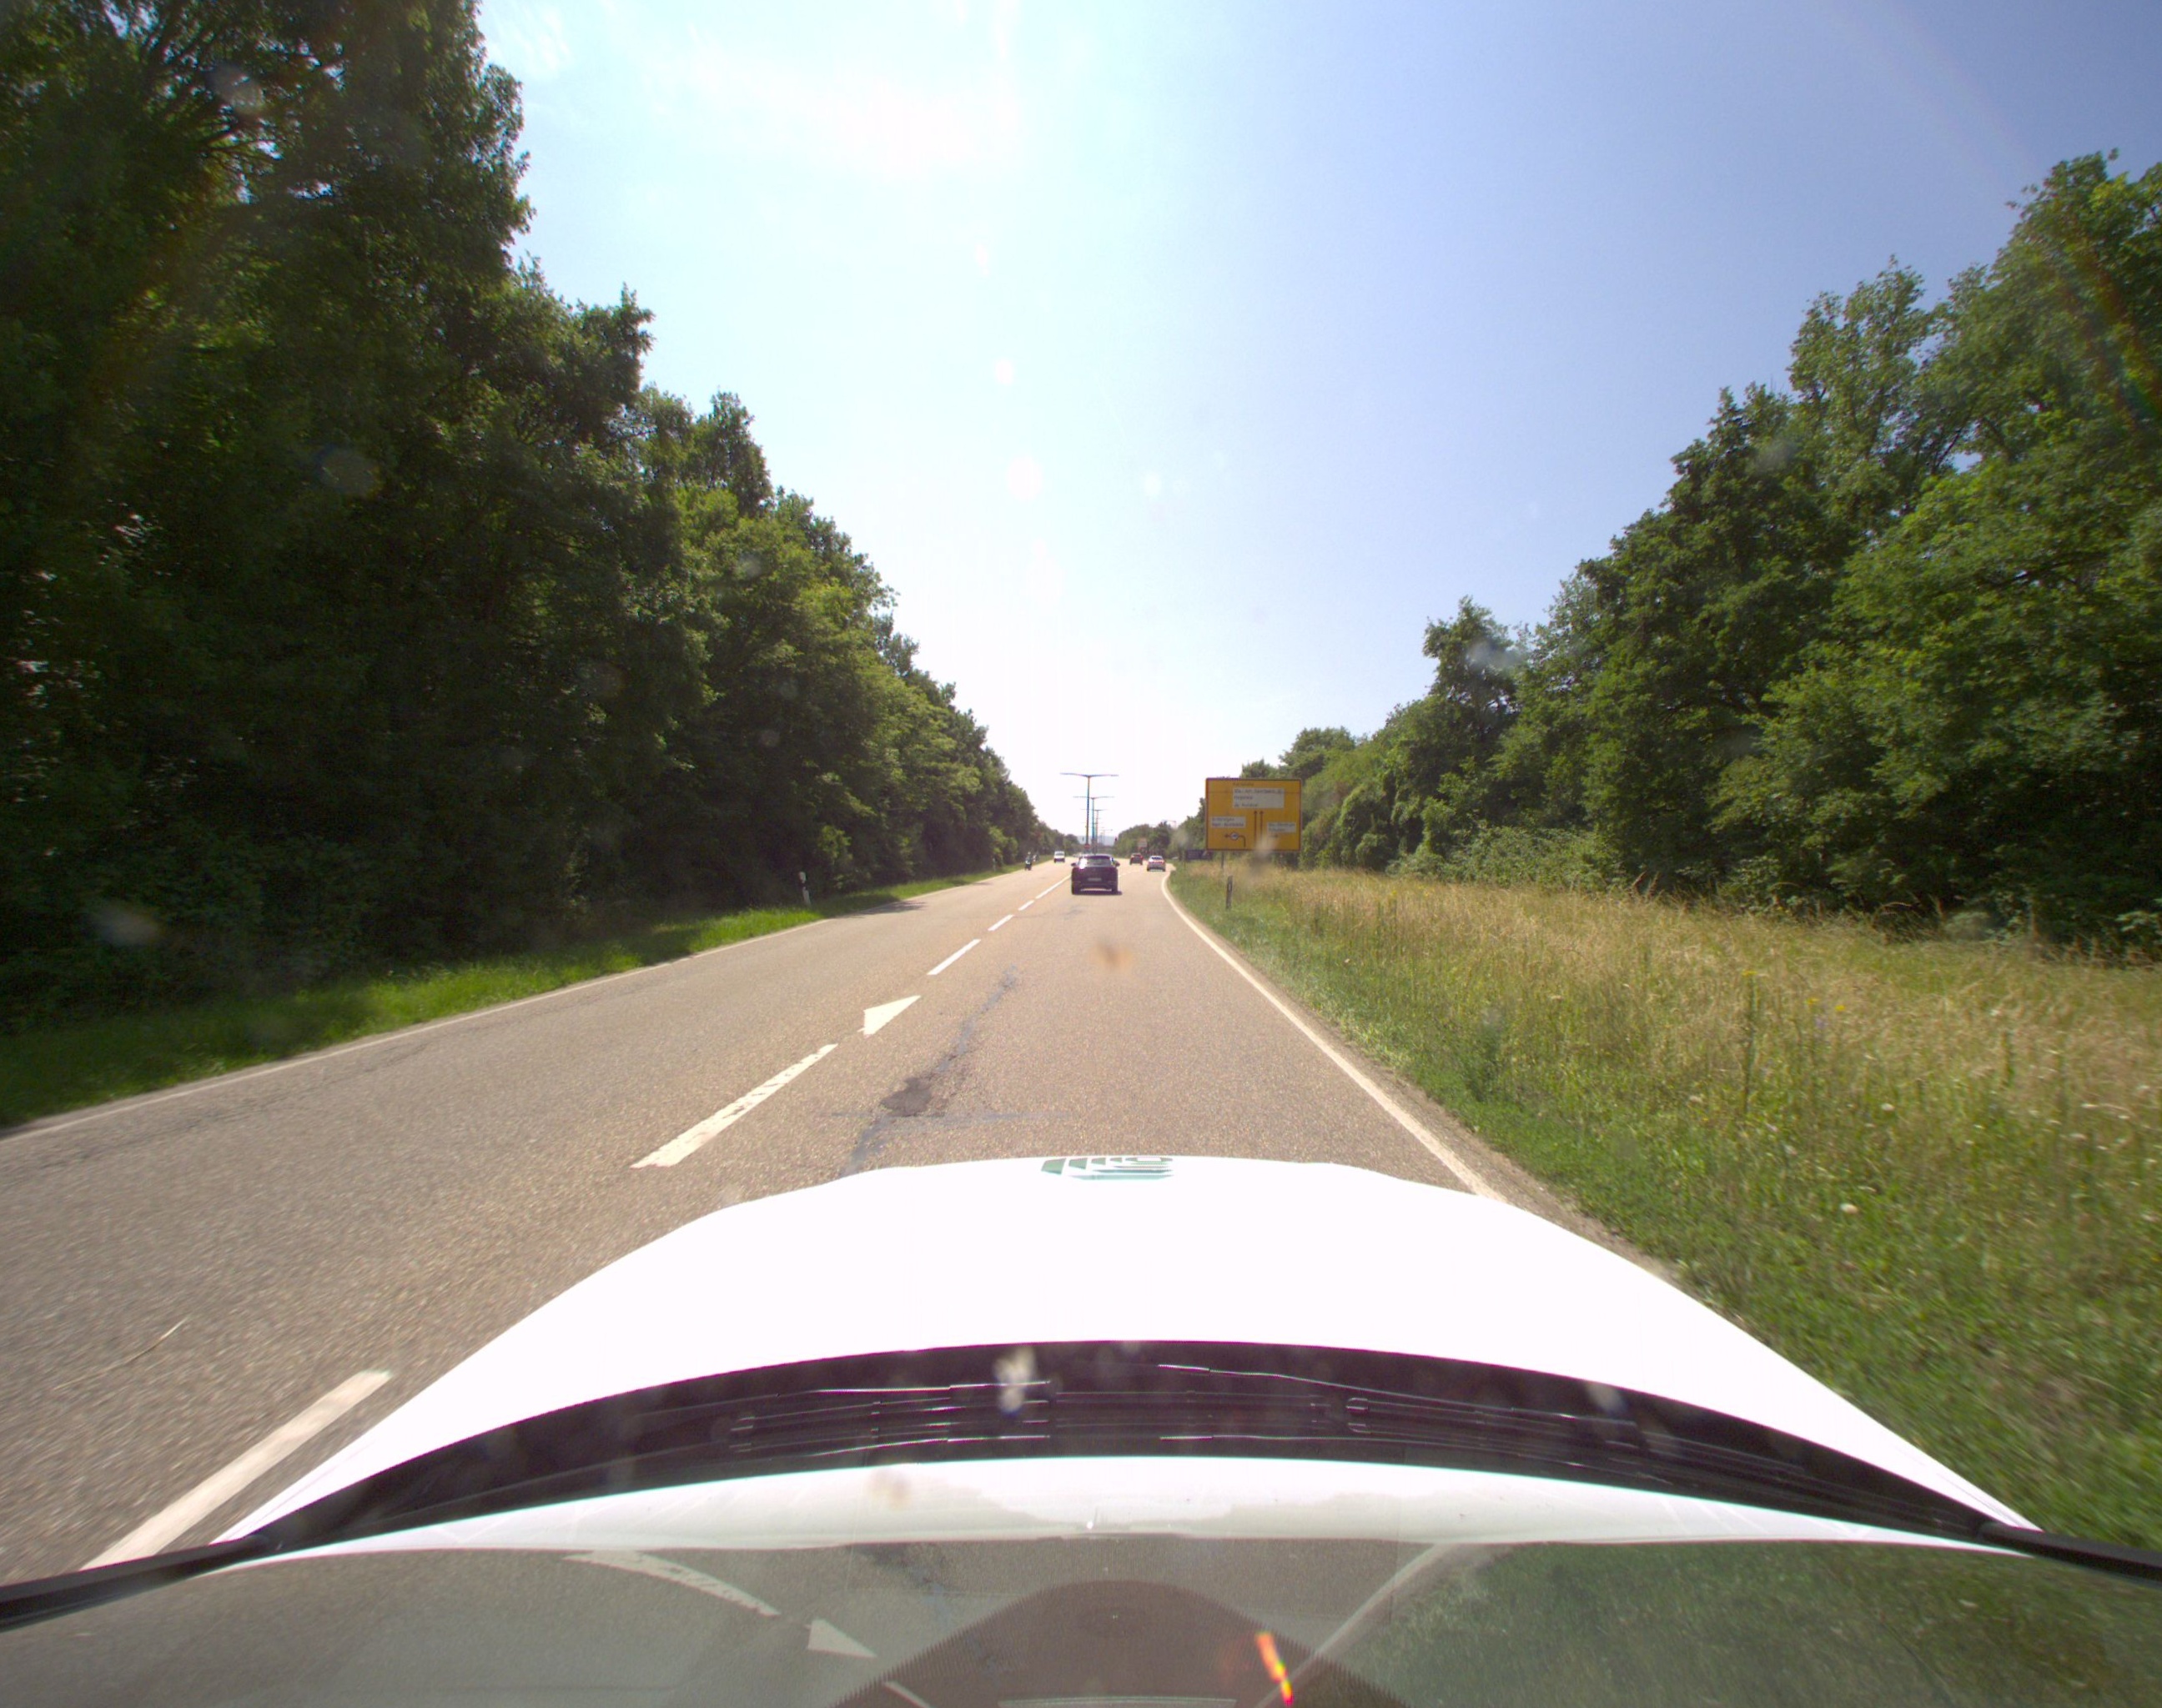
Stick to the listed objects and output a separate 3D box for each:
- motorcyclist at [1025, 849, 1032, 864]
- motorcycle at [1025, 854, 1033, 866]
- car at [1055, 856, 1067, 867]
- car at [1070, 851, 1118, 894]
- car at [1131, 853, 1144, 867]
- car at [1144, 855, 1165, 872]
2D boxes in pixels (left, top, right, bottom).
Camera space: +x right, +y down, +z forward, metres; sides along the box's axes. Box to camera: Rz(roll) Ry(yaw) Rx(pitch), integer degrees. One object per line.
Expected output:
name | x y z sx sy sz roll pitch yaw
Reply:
motorcyclist | -4.989 0.247 77.797 0.668 1.475 0.813 0 0 -2
motorcycle | -5.000 0.592 77.974 0.668 1.174 2.230 0 0 -1
car | -3.151 1.169 127.514 1.726 1.688 4.095 -1 0 0
car | 0.477 0.700 32.198 1.750 1.556 3.999 1 0 0
car | 8.440 0.867 122.482 1.749 1.929 4.001 2 0 1
car | 7.108 0.912 78.696 1.790 1.583 4.002 -1 0 2
